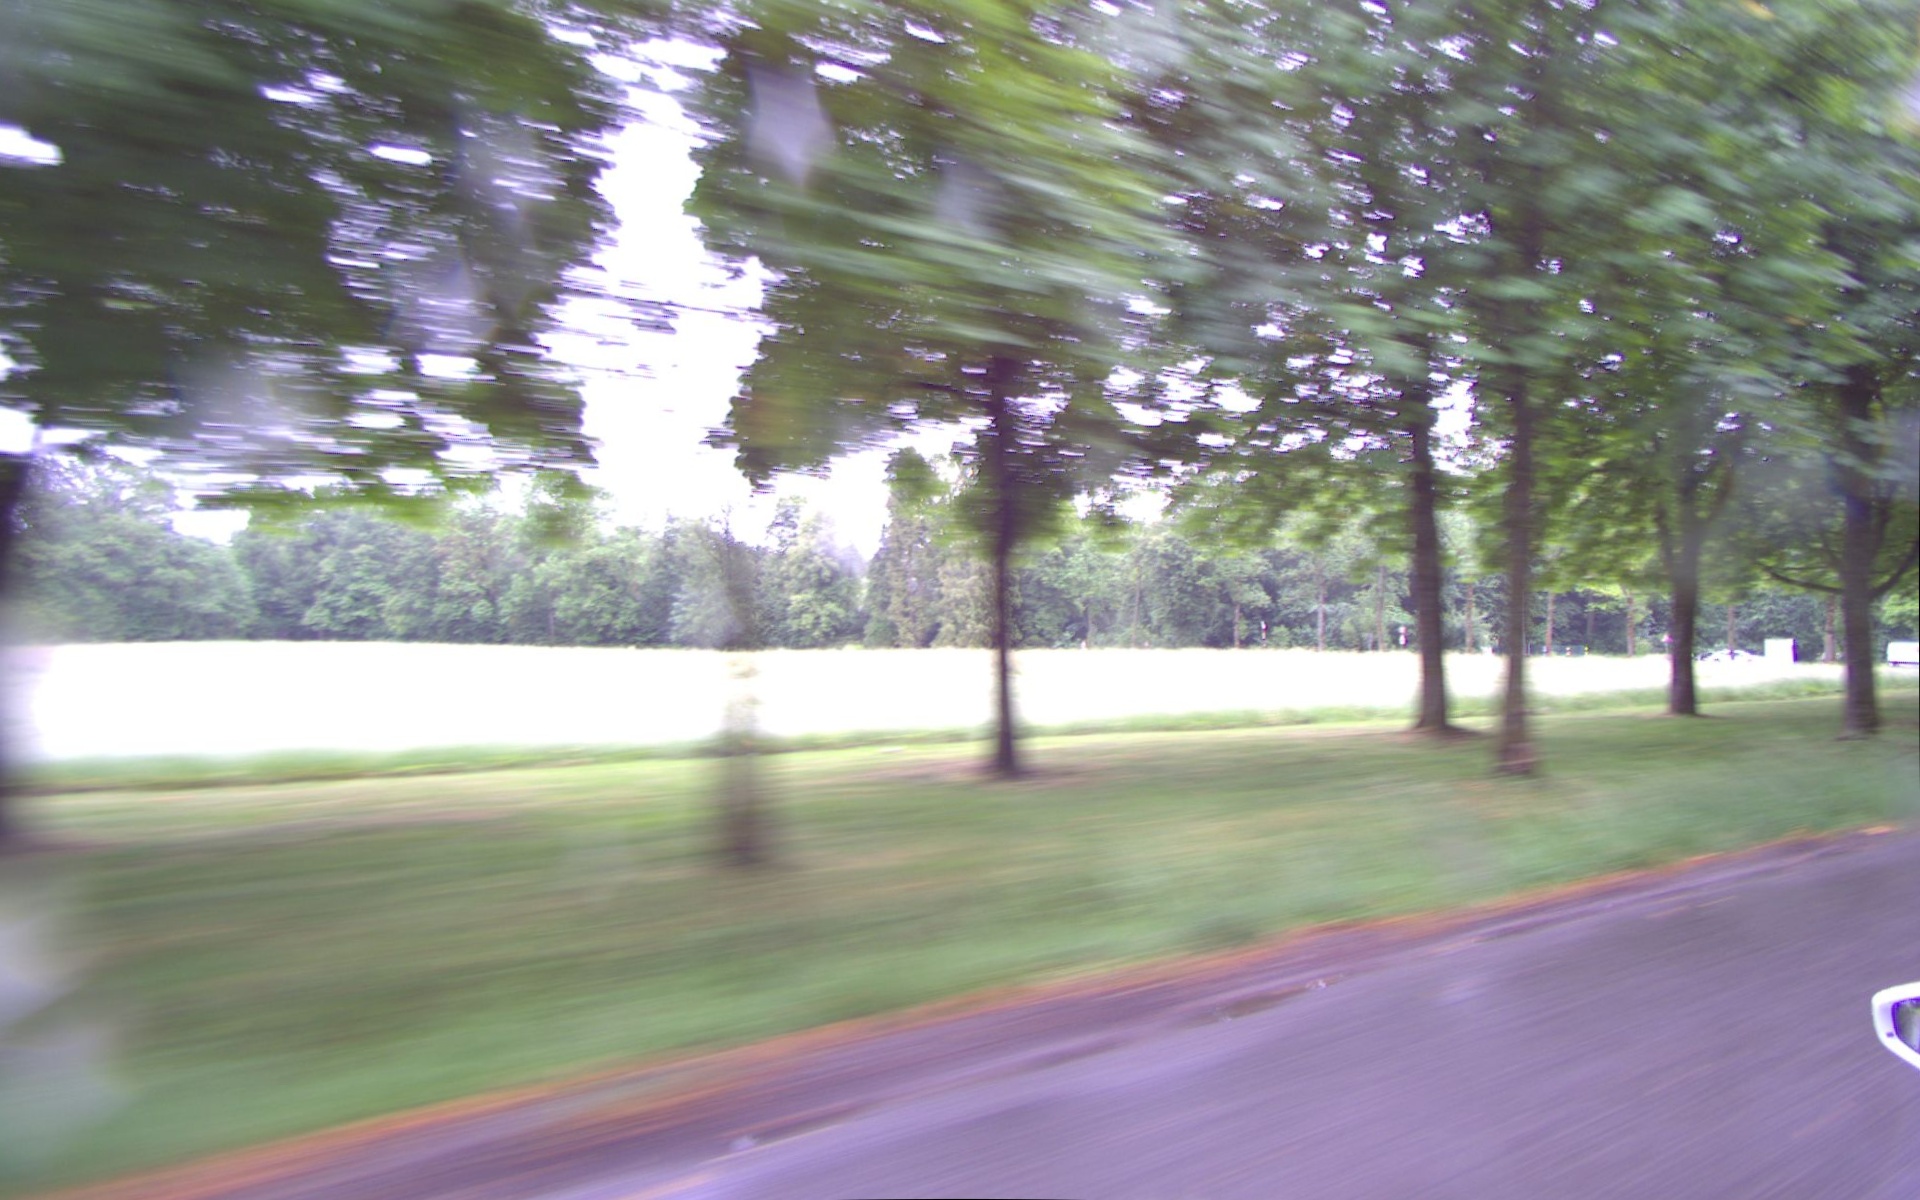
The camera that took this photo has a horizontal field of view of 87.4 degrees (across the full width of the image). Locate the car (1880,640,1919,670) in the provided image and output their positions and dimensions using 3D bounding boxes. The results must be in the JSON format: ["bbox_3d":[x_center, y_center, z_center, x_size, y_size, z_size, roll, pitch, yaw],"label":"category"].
[{"bbox_3d":[80.547,4.612,84.192,2.344,2.439,5.990,2,-3,12],"label":"car"}]

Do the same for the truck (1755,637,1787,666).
[{"bbox_3d":[71.116,4.509,88.084,3.328,2.474,1.851,3,-3,-45],"label":"truck"}]
